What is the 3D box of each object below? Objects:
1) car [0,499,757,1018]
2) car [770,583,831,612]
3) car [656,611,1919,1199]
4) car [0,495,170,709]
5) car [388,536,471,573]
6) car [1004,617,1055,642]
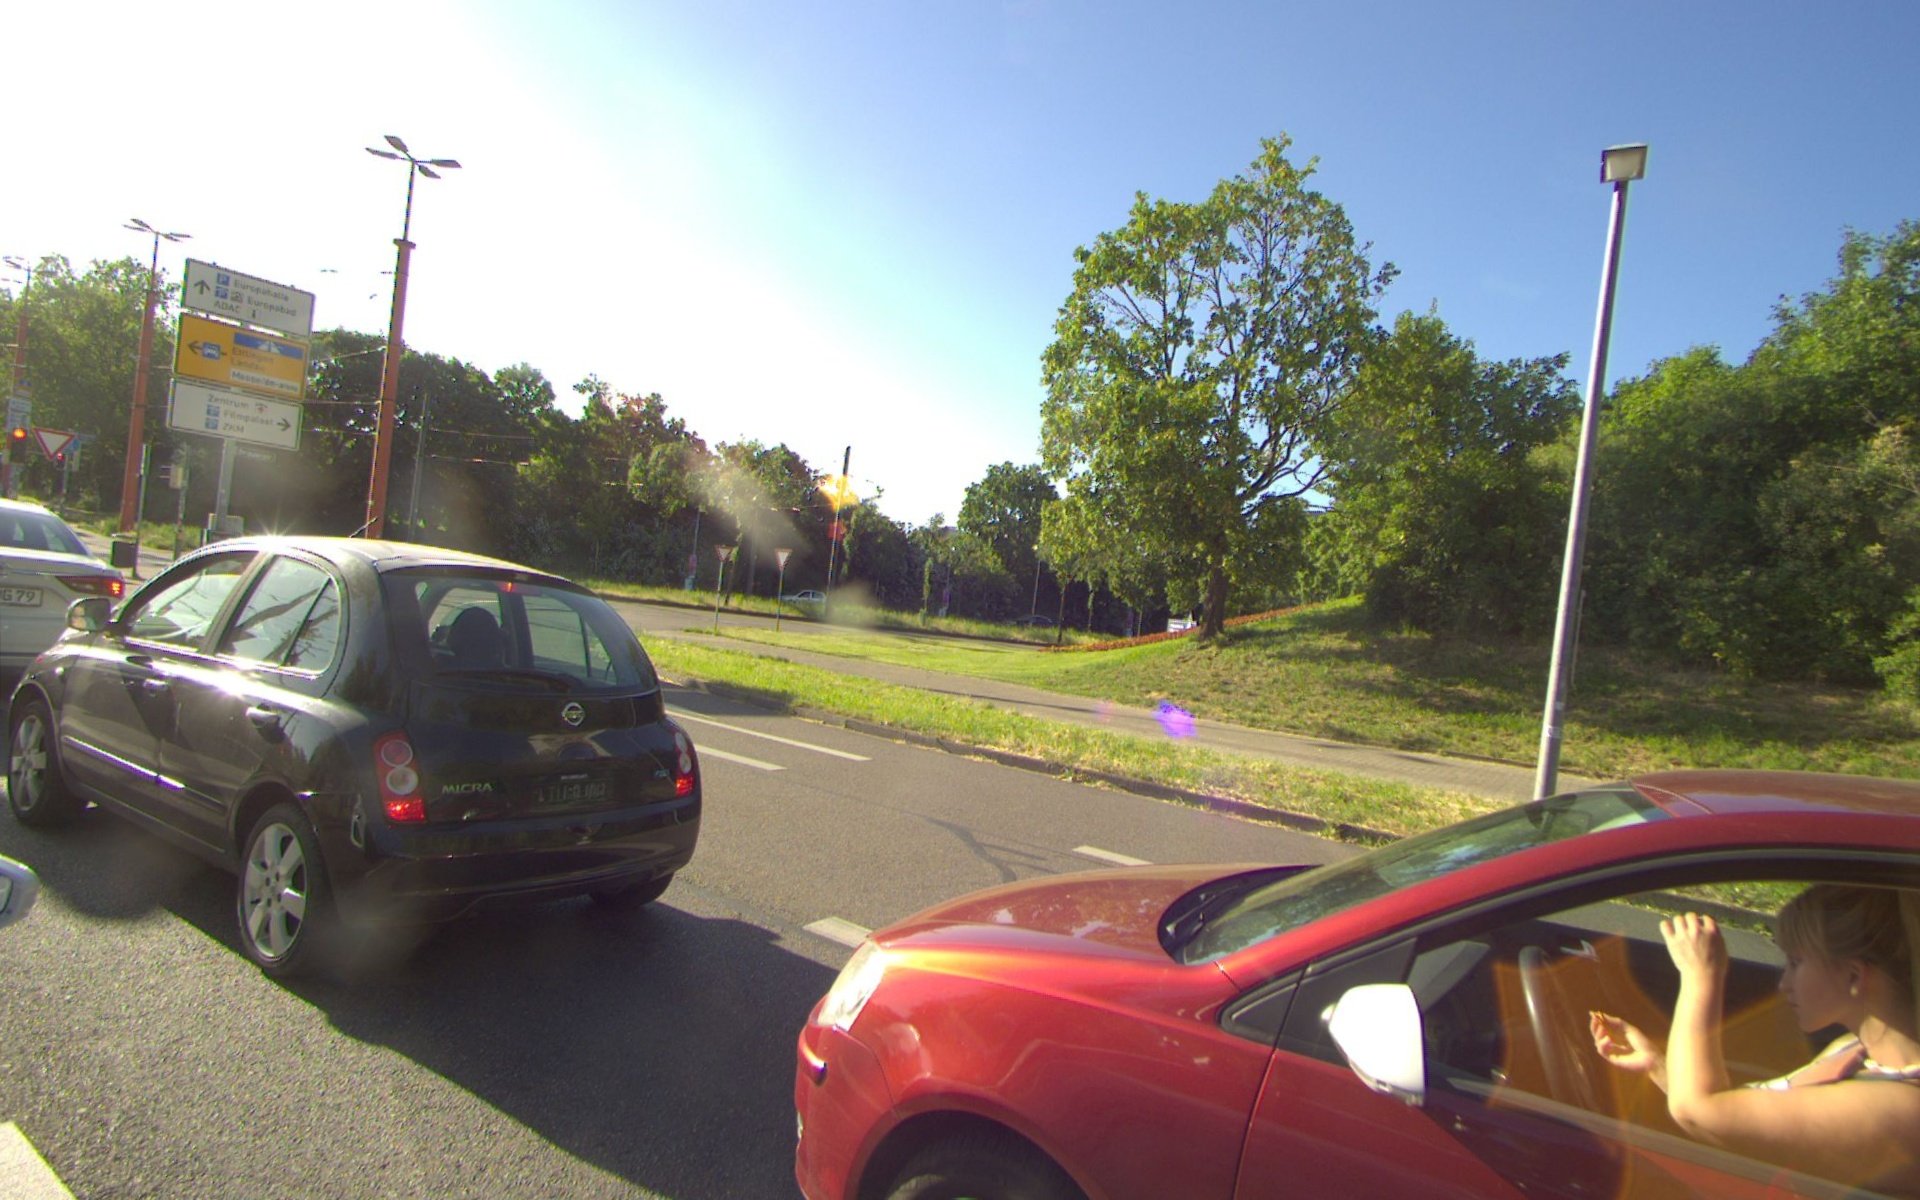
[{"bbox_3d":[-2.802,0.466,4.624,3.385,1.457,1.579,6,-2,32],"label":"car"},{"bbox_3d":[-11.195,-0.181,70.652,3.764,1.528,1.644,8,-1,-31],"label":"car"},{"bbox_3d":[1.341,1.001,1.868,3.629,1.477,1.579,6,-2,32],"label":"car"},{"bbox_3d":[-8.374,-0.177,8.079,4.256,1.457,1.802,6,-2,33],"label":"car"},{"bbox_3d":[-30.831,-2.650,58.468,4.105,1.528,1.644,8,-1,-31],"label":"car"},{"bbox_3d":[5.511,2.319,79.177,3.774,1.419,1.639,9,-1,-38],"label":"car"}]
